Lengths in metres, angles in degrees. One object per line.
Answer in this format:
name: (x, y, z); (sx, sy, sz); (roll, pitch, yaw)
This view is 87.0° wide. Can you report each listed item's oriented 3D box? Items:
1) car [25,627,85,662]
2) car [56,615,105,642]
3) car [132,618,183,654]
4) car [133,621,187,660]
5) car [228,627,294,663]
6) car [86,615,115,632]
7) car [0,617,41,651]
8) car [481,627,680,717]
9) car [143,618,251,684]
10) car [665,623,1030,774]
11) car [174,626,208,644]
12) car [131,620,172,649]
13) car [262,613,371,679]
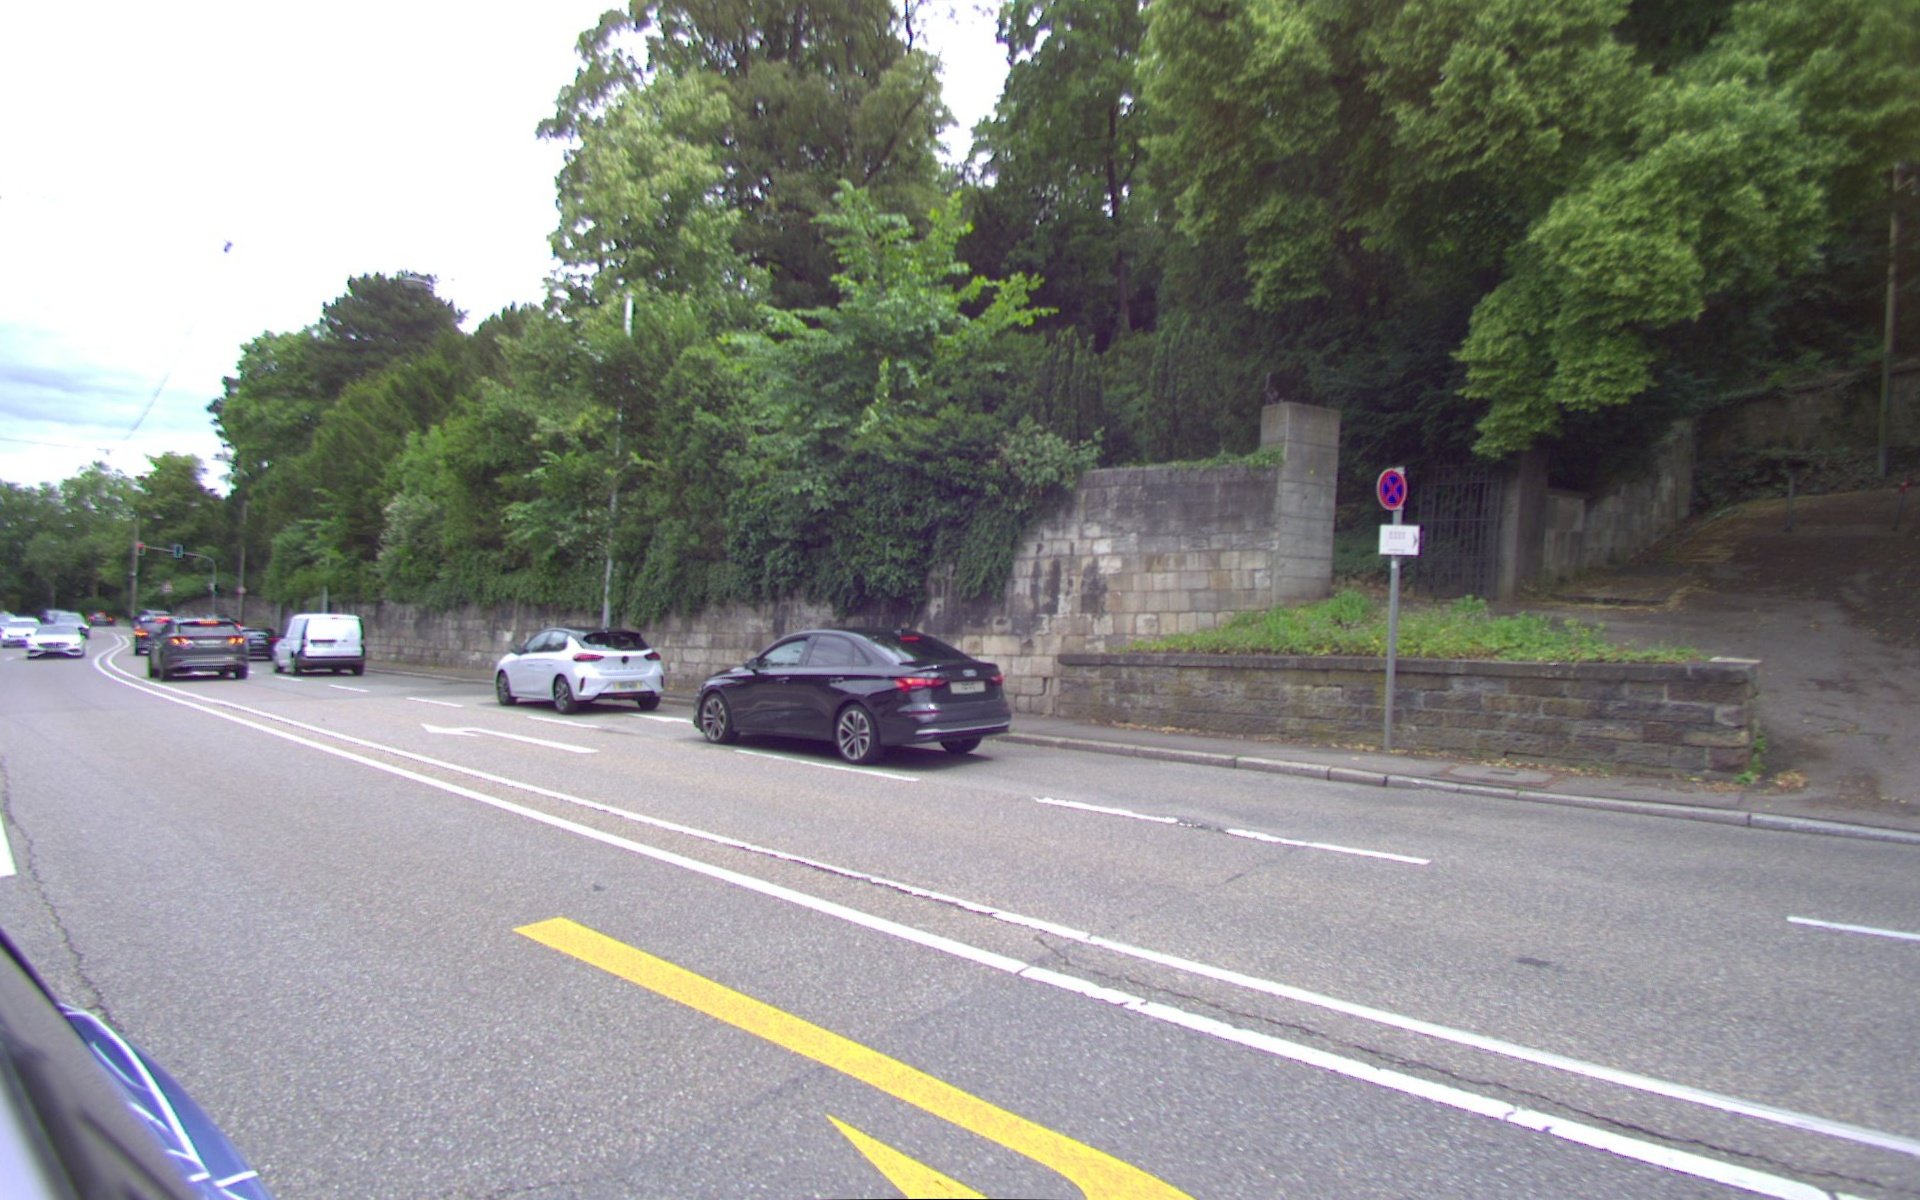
car: (-38.065, 1.860, 42.625); (1.776, 1.401, 3.532); (2, -3, -41)
car: (-57.629, 1.856, 66.307); (3.999, 1.753, 1.932); (-2, -2, 42)
car: (-42.066, 1.846, 53.068); (1.934, 1.763, 4.887); (3, -2, -38)
car: (-37.165, 1.844, 46.984); (1.824, 1.664, 4.632); (3, -3, -39)
car: (-29.464, 1.860, 42.601); (1.544, 1.413, 4.256); (4, -3, -44)
car: (-78.811, 2.165, 92.862); (1.968, 1.453, 4.007); (0, -2, -39)
car: (-52.506, 1.878, 55.960); (3.996, 1.785, 1.934); (-1, -2, 39)
car: (-6.759, 1.200, 17.830); (4.024, 1.414, 1.696); (-2, -3, 44)
car: (-20.877, 1.346, 27.624); (1.827, 1.645, 4.364); (1, -2, -44)
car: (-1.447, 1.017, 11.715); (4.426, 1.429, 1.665); (-2, -3, 42)
car: (-61.954, 2.775, 81.476); (1.977, 1.420, 4.763); (1, -2, -39)
car: (-46.961, 1.971, 58.781); (1.814, 1.566, 4.797); (1, -1, -39)
car: (-19.637, 1.361, 30.810); (1.871, 1.862, 4.399); (3, -3, -45)
